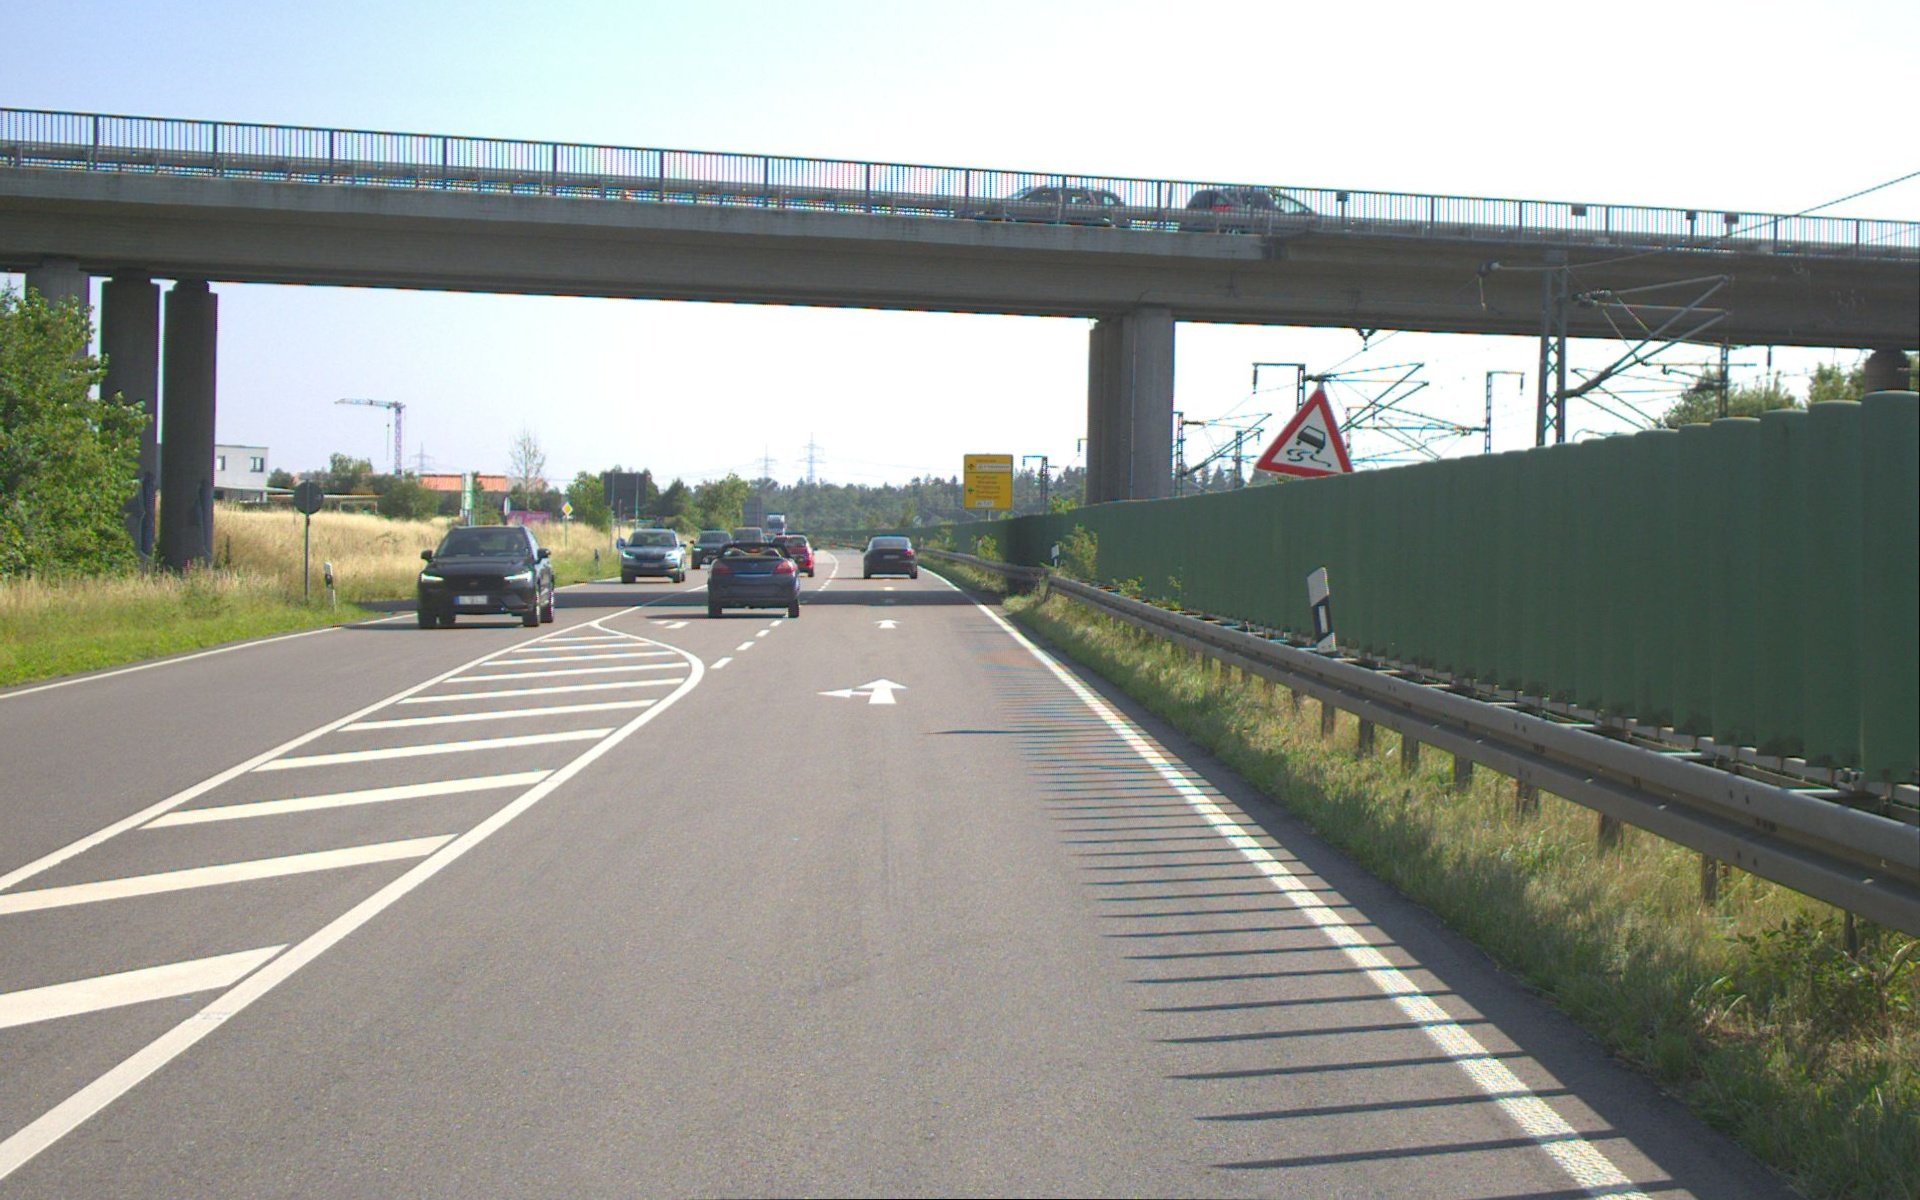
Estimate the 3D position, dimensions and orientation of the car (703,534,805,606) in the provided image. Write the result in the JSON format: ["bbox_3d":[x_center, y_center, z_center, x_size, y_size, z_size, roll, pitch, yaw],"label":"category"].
[{"bbox_3d":[-3.725,-0.552,62.656,1.663,1.257,4.000,0,1,-1],"label":"car"}]

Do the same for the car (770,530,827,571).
[{"bbox_3d":[-5.733,-1.756,122.113,1.895,1.413,4.000,0,1,-1],"label":"car"}]

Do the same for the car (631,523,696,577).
[{"bbox_3d":[-9.178,-1.563,106.628,1.845,1.625,4.001,0,1,-3],"label":"car"}]

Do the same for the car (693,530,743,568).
[{"bbox_3d":[-10.348,-2.180,147.328,1.895,1.625,4.000,0,1,-1],"label":"car"}]

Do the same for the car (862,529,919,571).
[{"bbox_3d":[-2.369,-1.706,117.465,1.895,1.413,4.000,0,1,-1],"label":"car"}]

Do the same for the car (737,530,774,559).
[{"bbox_3d":[-11.672,-3.191,196.258,1.895,1.625,4.000,0,1,-1],"label":"car"}]

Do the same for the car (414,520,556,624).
[{"bbox_3d":[-7.664,-0.484,55.791,1.922,1.587,4.430,1,1,-4],"label":"car"}]
